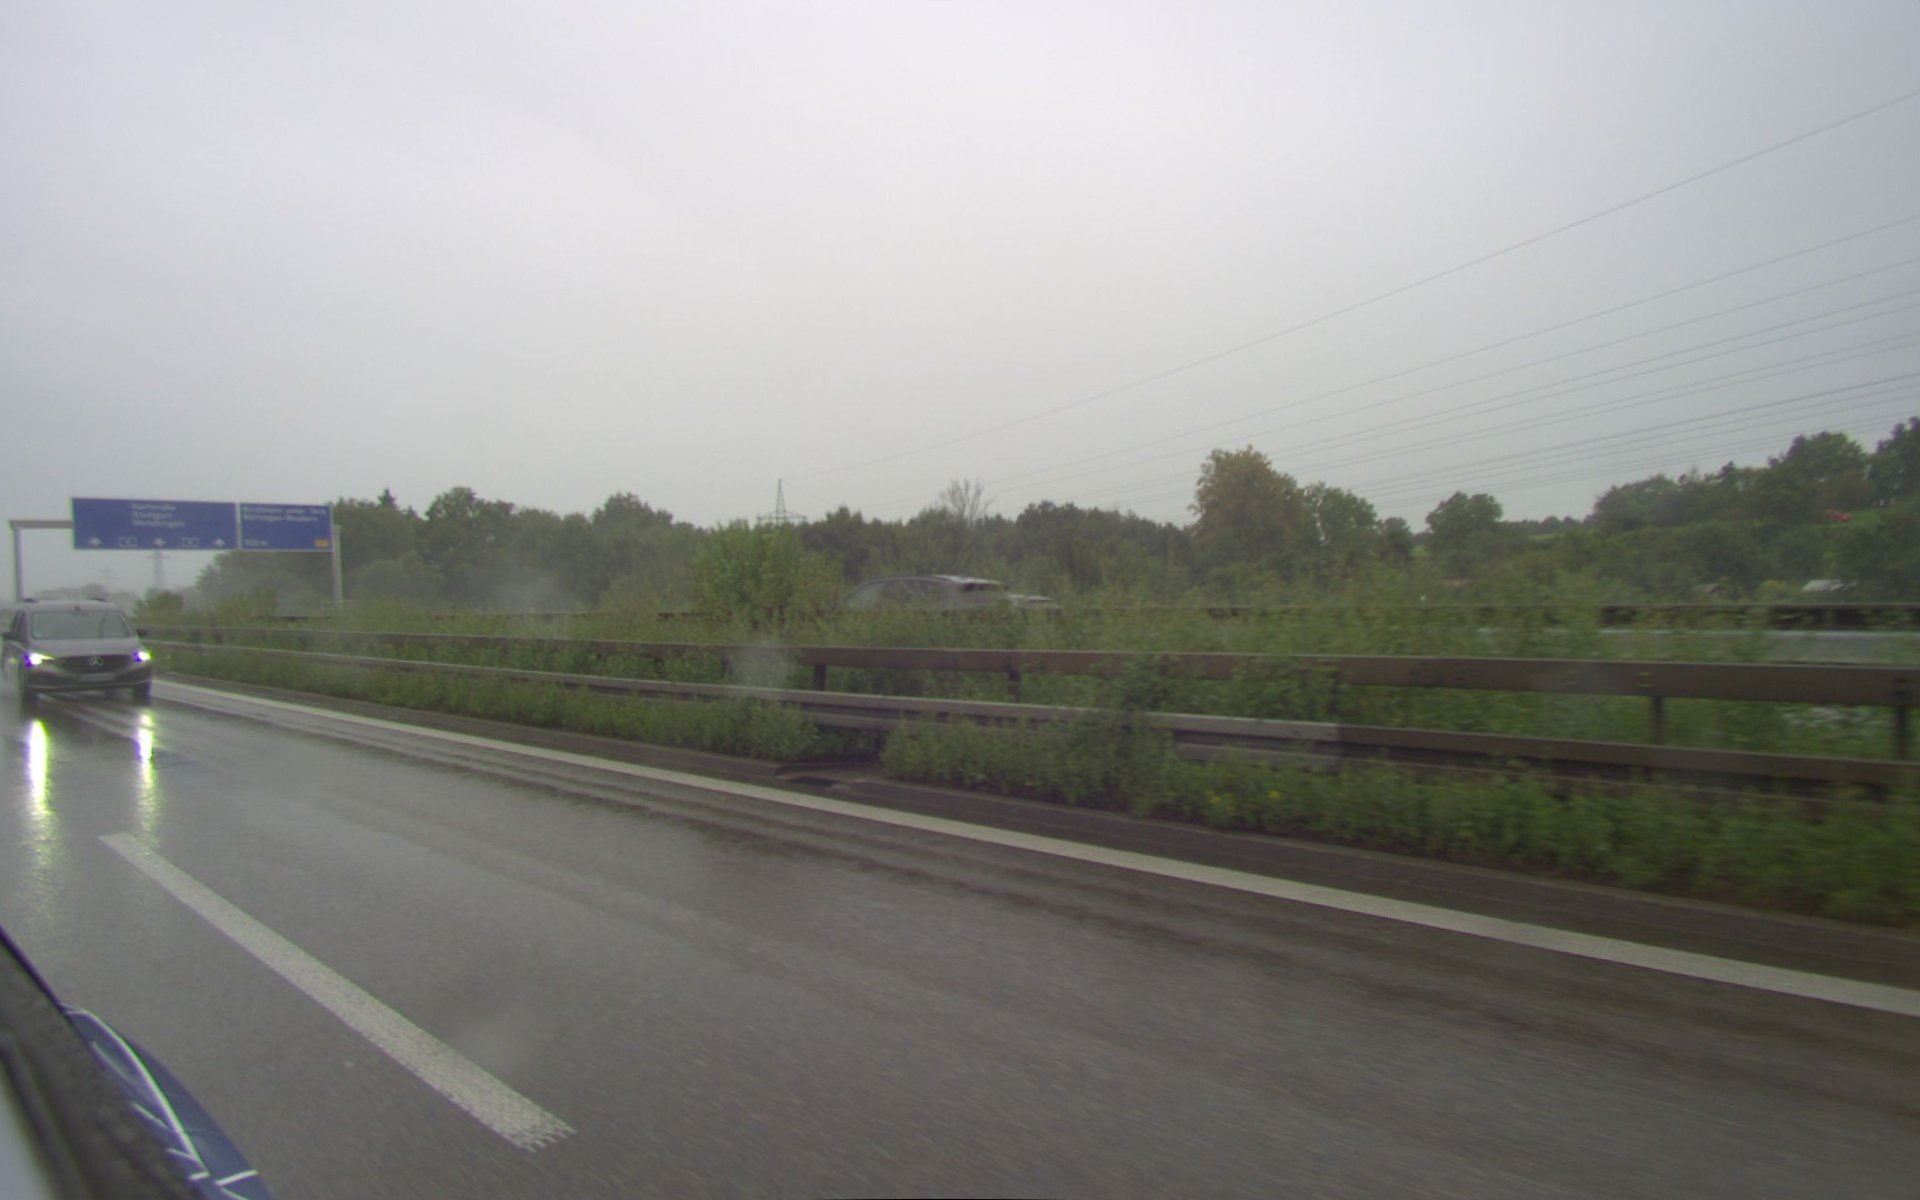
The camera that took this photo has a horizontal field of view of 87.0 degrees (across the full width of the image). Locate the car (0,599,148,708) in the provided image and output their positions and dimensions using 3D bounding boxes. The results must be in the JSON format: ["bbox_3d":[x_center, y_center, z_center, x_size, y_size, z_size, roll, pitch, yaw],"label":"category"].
[{"bbox_3d":[-16.540,0.926,18.790,2.017,1.787,4.505,0,-1,-42],"label":"car"}]

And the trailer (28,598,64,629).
[{"bbox_3d":[-120.801,1.783,133.648,13.930,3.749,2.307,-2,2,44],"label":"trailer"}]
